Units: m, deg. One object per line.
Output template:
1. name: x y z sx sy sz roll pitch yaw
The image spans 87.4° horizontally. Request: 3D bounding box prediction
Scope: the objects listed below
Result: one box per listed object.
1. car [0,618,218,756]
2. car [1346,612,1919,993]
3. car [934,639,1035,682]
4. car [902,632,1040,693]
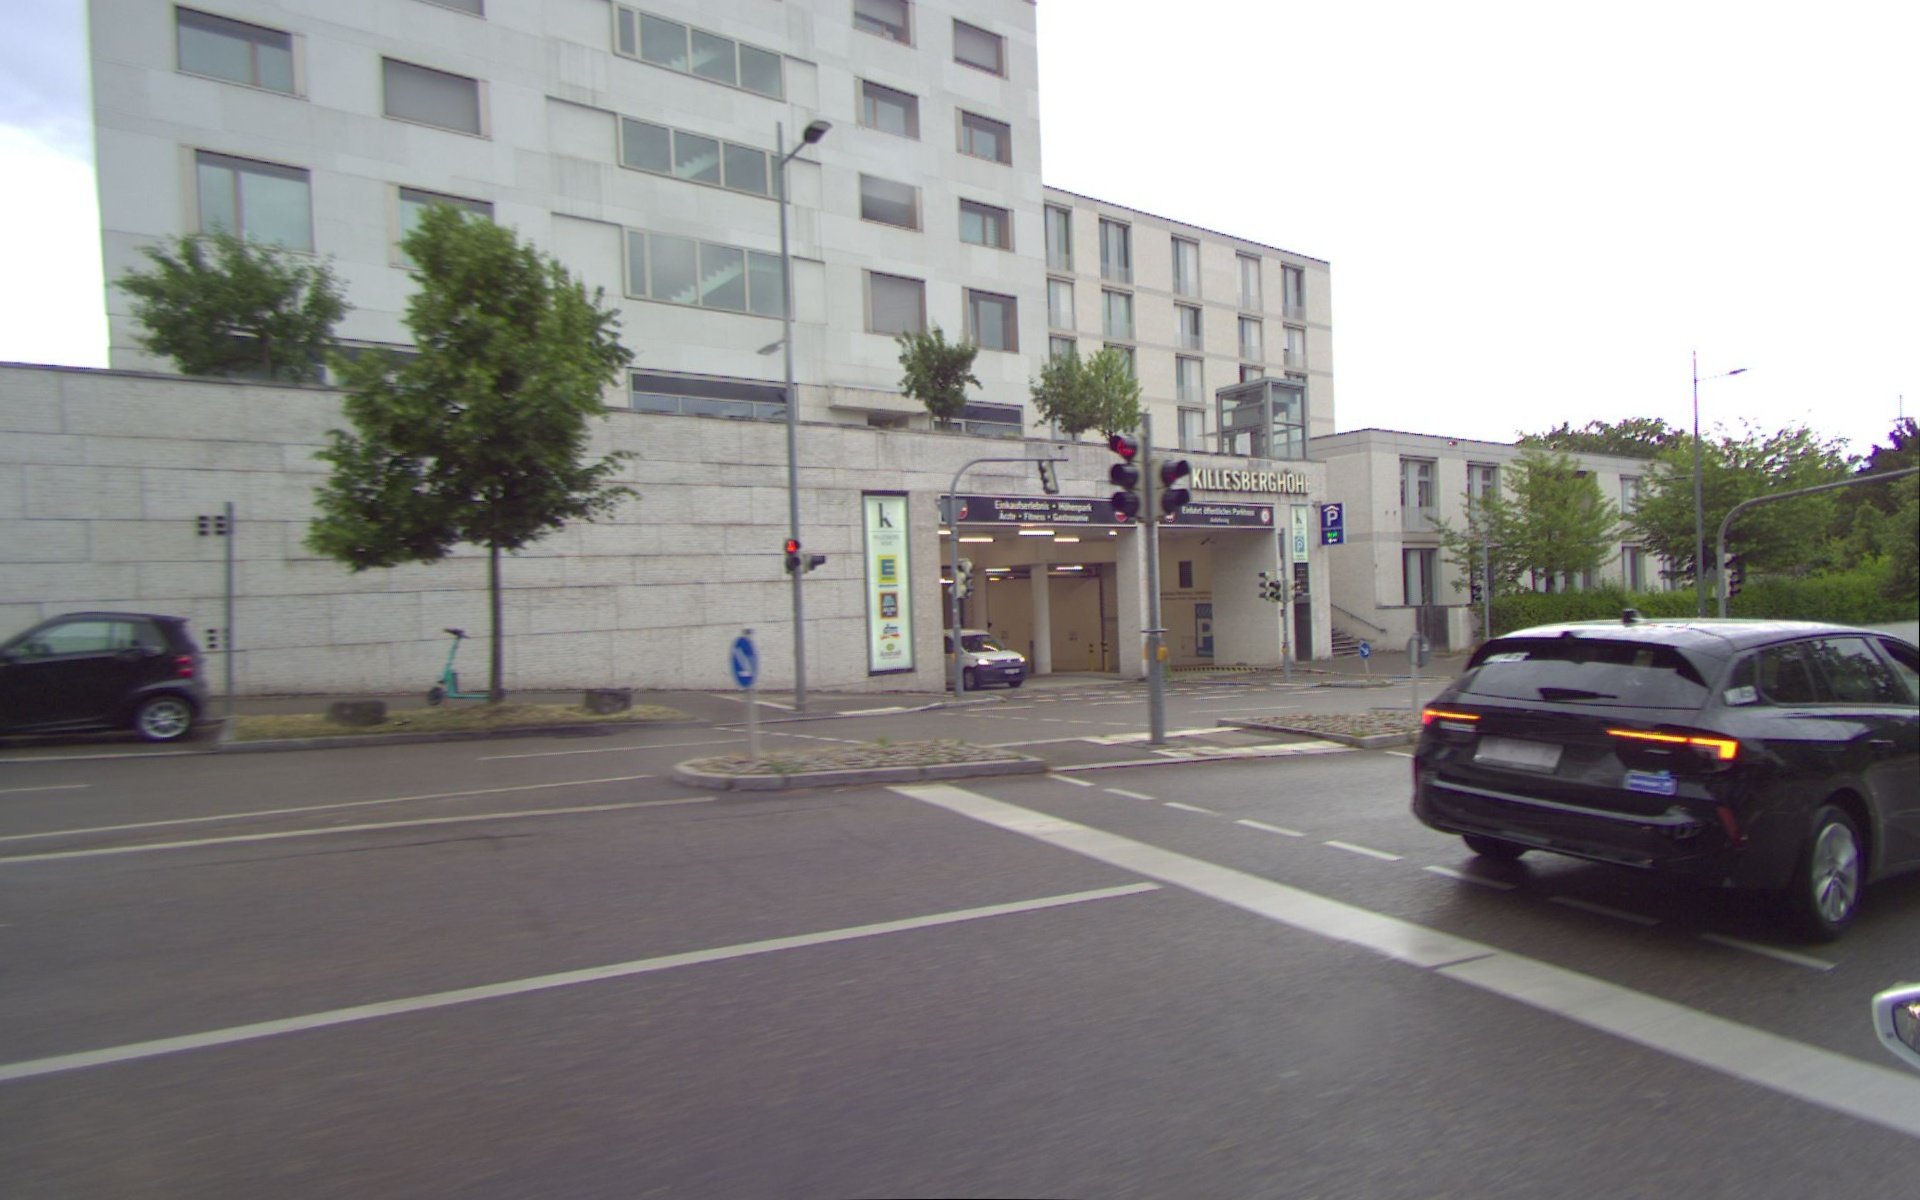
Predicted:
1. car: -10.856 0.998 12.151 2.950 1.535 1.498 1 -1 -35
2. car: 4.526 0.847 5.803 4.463 1.450 1.792 1 1 -28
3. car: 0.800 2.088 35.007 1.645 1.369 3.669 0 -2 -35
4. car: 0.244 1.812 30.192 1.909 1.694 4.471 1 -2 -36
